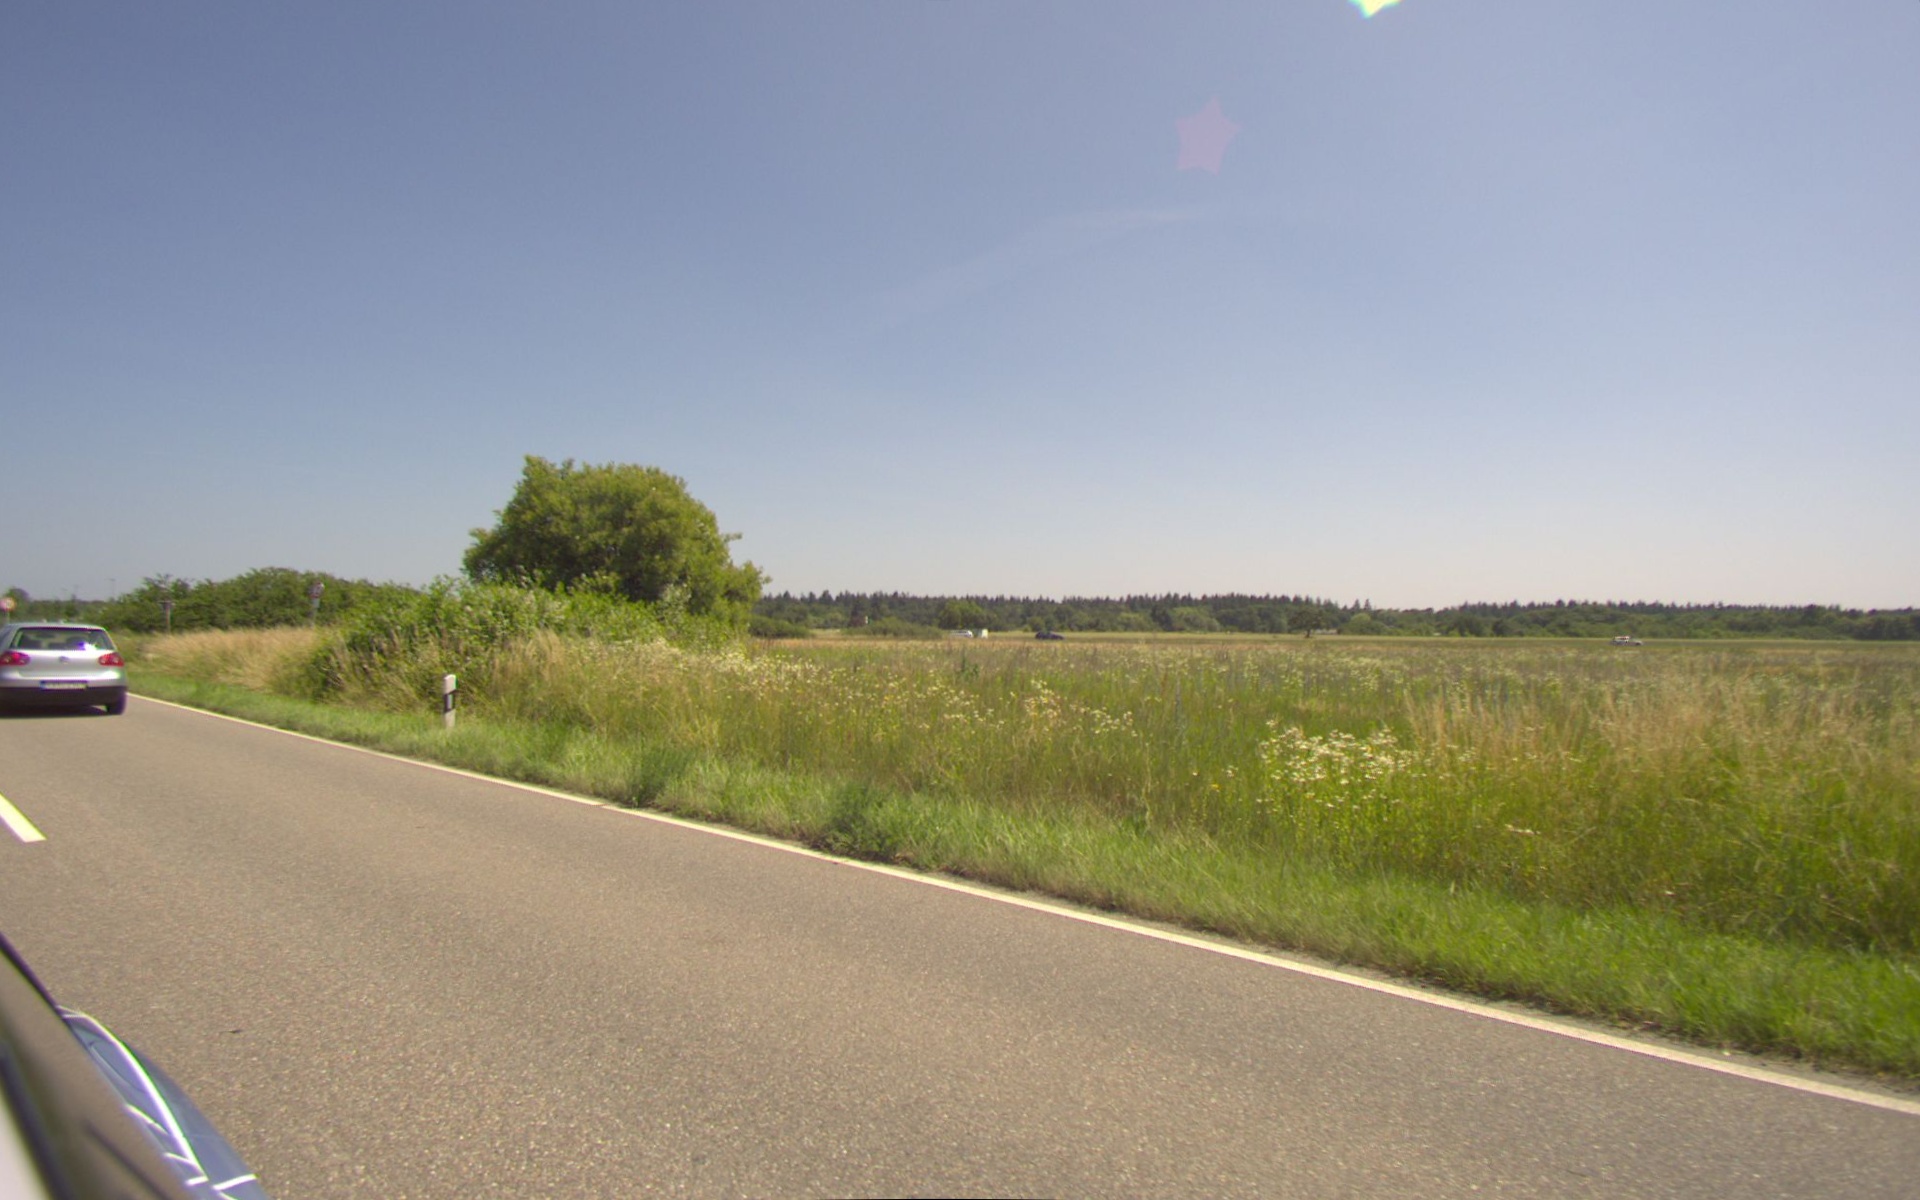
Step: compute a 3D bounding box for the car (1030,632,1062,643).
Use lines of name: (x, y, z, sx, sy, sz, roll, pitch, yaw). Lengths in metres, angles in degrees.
car: (13.217, 5.738, 155.493, 4.801, 1.704, 1.993, 0, -2, 12)

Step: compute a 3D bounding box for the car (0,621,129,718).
car: (-15.487, 1.101, 16.908, 4.419, 1.432, 1.661, -1, -4, 40)

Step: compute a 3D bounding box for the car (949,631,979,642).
car: (0.679, 5.915, 162.273, 4.533, 1.704, 1.992, 0, -2, 13)
